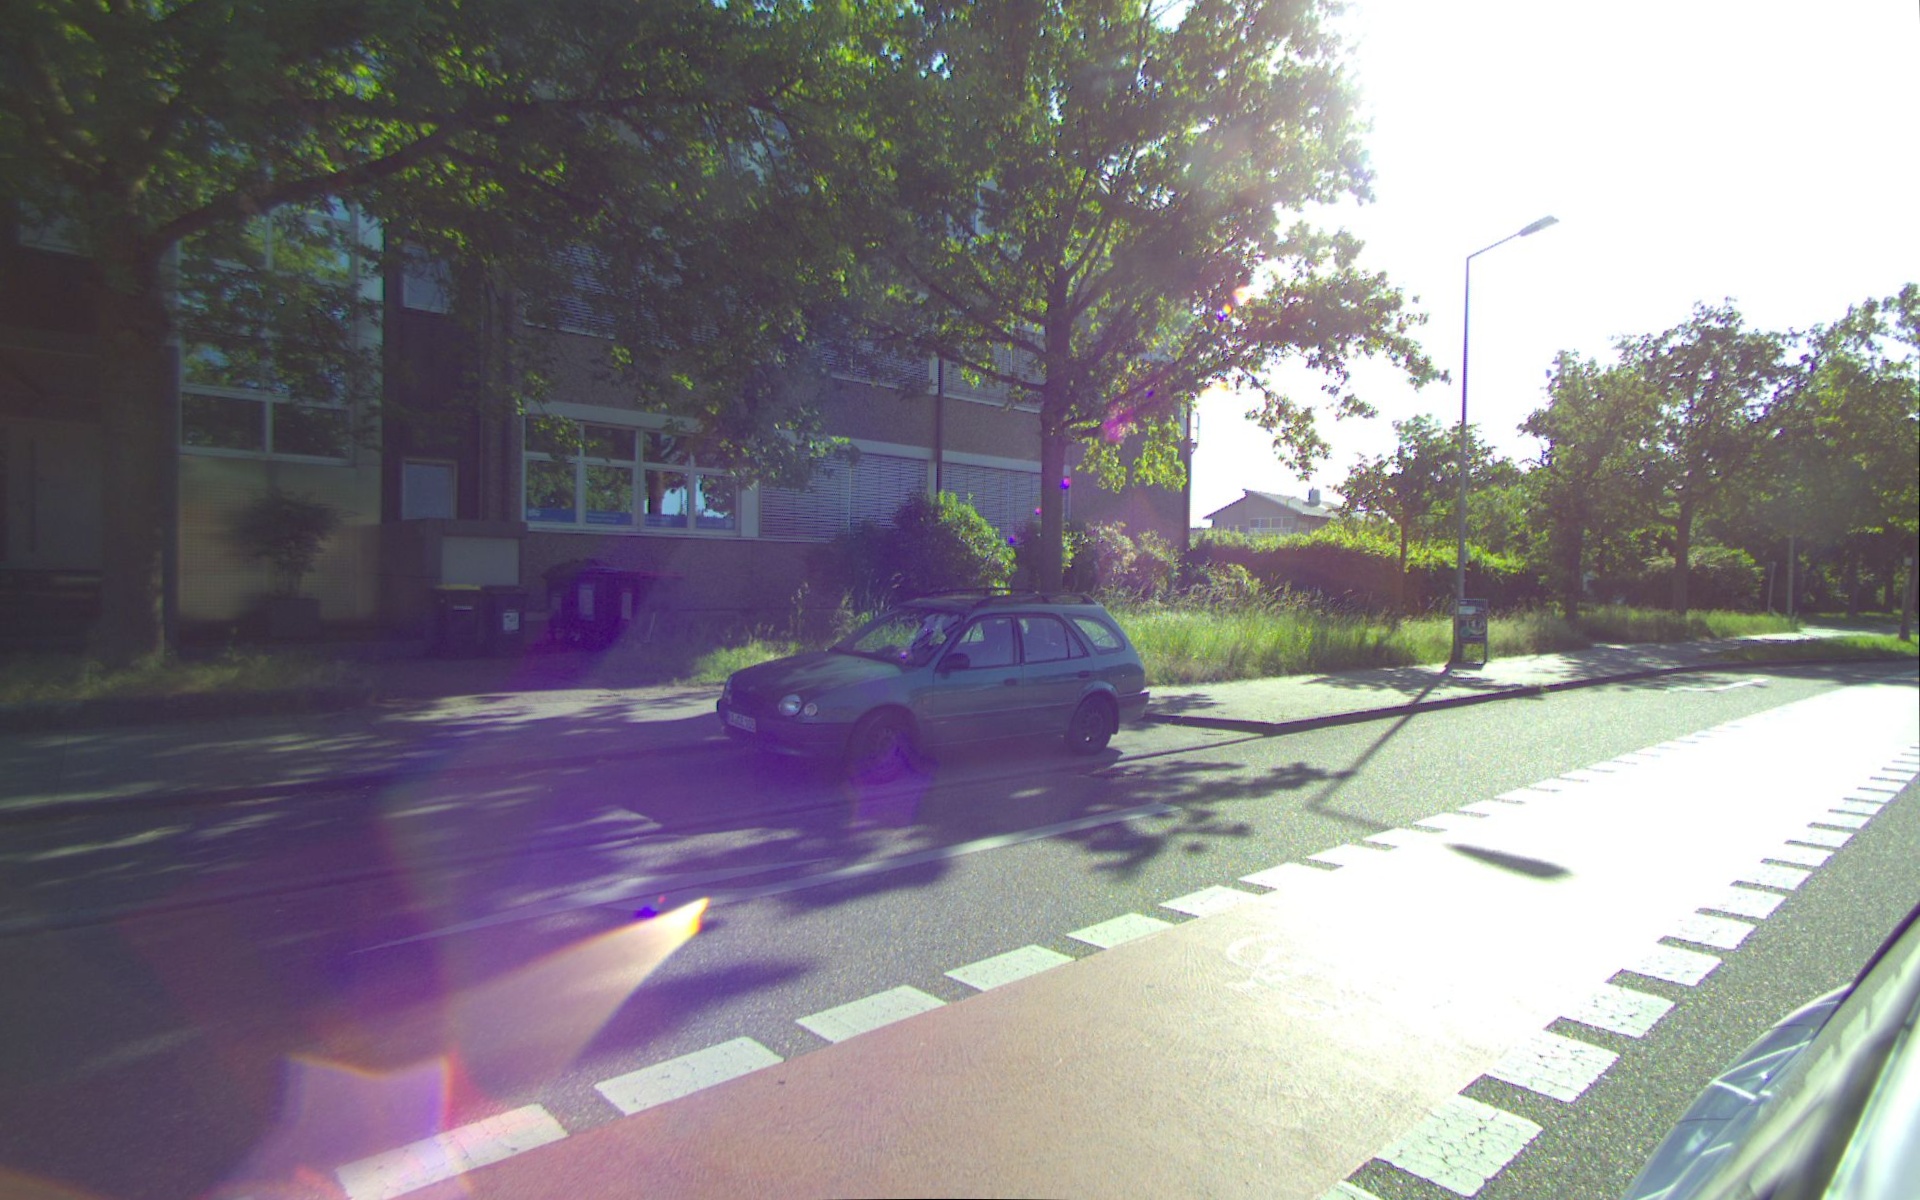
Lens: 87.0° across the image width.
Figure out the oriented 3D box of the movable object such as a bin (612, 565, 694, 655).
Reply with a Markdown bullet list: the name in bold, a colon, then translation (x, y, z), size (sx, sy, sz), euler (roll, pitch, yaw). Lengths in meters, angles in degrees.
- **movable object such as a bin**: translation (-4.789, 0.124, 15.766), size (0.878, 1.323, 1.186), euler (0, 2, -37)

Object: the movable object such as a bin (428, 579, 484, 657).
- **movable object such as a bin**: translation (-7.222, 0.244, 14.489), size (0.575, 1.070, 0.625), euler (0, 1, -42)

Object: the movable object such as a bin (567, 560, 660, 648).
- **movable object such as a bin**: translation (-5.779, 0.042, 16.853), size (1.070, 1.388, 1.186), euler (0, 2, -43)

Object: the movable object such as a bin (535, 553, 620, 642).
- **movable object such as a bin**: translation (-6.788, -0.075, 17.933), size (1.024, 1.501, 1.309), euler (0, 2, -41)

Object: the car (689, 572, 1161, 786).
- **car**: translation (-0.152, 0.574, 9.125), size (4.068, 1.487, 1.705), euler (1, 1, -41)

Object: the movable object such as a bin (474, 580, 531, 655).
- **movable object such as a bin**: translation (-6.766, 0.239, 14.970), size (0.604, 1.075, 0.634), euler (0, 1, -42)
